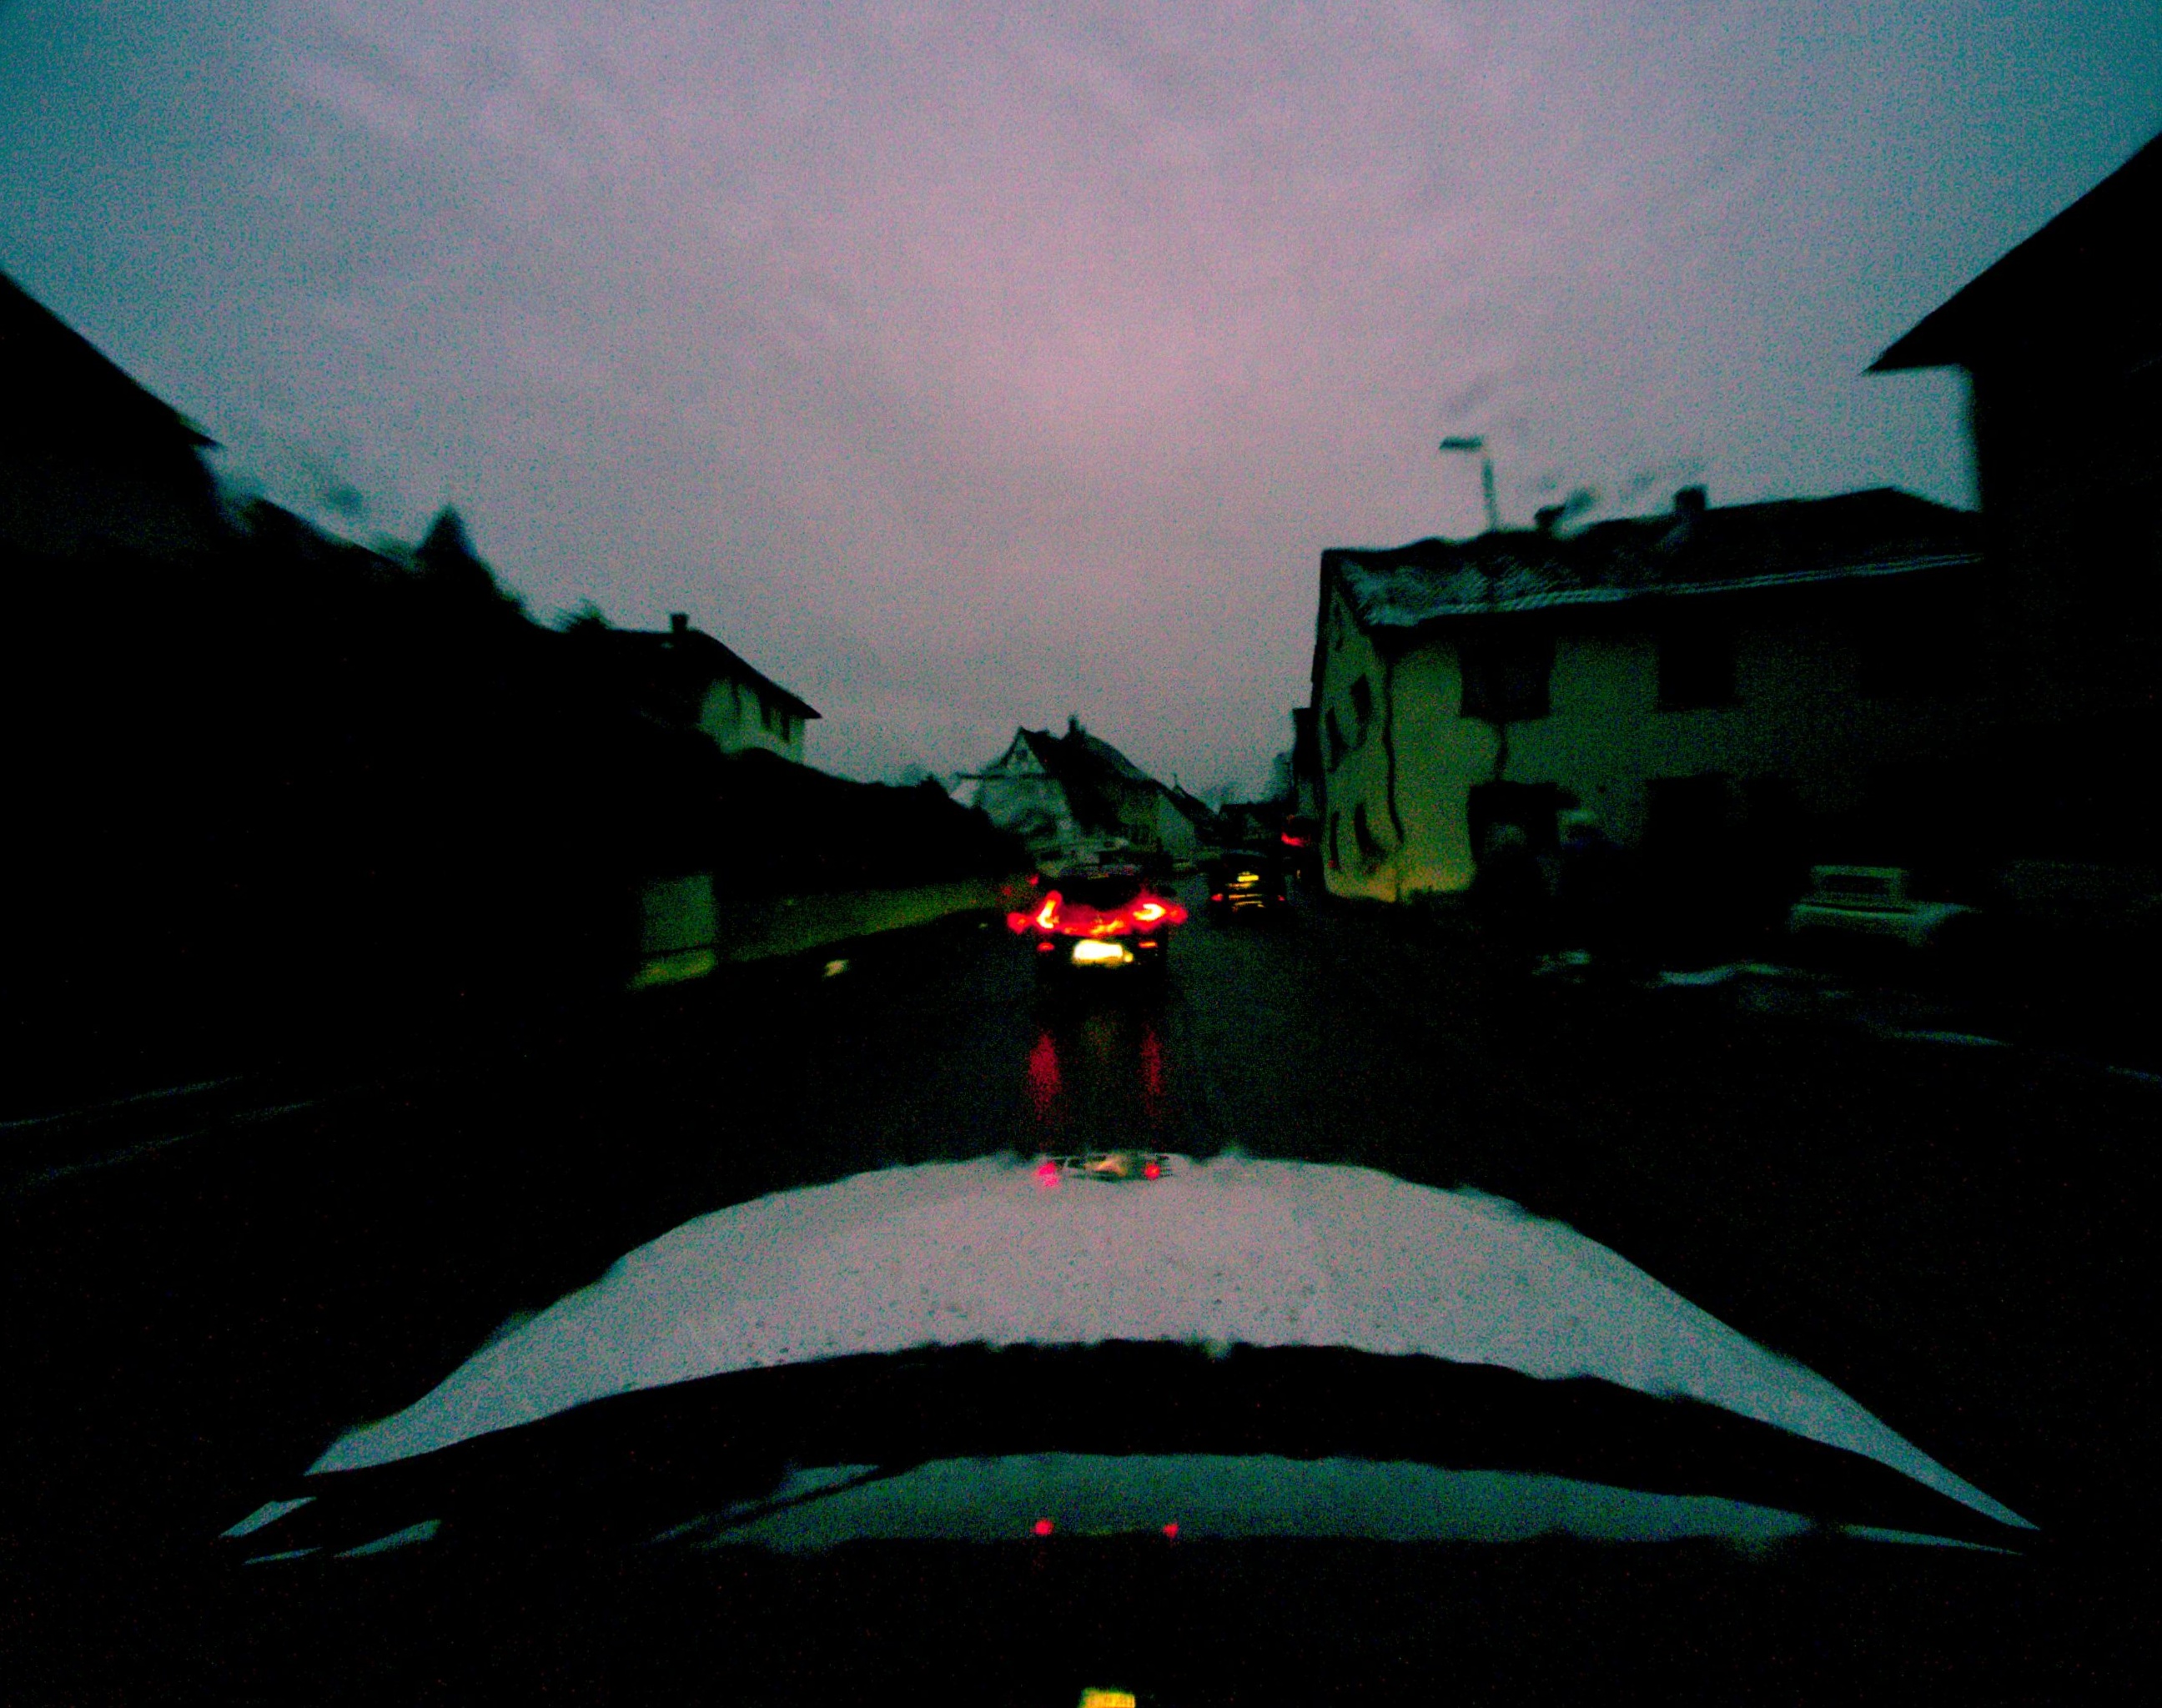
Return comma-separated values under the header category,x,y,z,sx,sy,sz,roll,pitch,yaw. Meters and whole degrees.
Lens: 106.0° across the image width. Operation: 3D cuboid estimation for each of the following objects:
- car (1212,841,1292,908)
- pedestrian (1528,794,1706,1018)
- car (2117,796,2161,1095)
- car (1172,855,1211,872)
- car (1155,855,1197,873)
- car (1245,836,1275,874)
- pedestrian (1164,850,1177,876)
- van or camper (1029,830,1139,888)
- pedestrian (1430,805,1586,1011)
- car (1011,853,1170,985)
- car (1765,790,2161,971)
category,x,y,z,sx,sy,sz,roll,pitch,yaw
car,4.543,0.527,22.162,1.837,1.637,4.346,-1,-1,8
pedestrian,4.532,0.422,6.981,0.843,1.733,0.974,-5,-1,10
car,7.159,0.342,3.110,3.881,1.474,1.753,-3,-1,5
car,10.453,0.903,77.207,3.482,1.507,1.698,-2,-1,13
car,8.748,0.920,74.984,3.478,1.507,1.700,-2,-1,19
car,11.854,0.076,53.779,1.801,2.413,3.766,-2,-1,14
pedestrian,6.900,0.679,62.921,0.867,2.014,0.797,-2,-1,12
van or camper,0.204,0.320,49.335,6.012,2.955,2.417,-5,-2,17
pedestrian,3.776,0.454,7.312,0.861,1.667,0.995,-5,-1,10
car,0.222,0.747,11.213,1.787,1.476,4.004,-1,0,3
car,8.949,0.210,7.892,3.203,1.474,1.588,-3,-1,2
